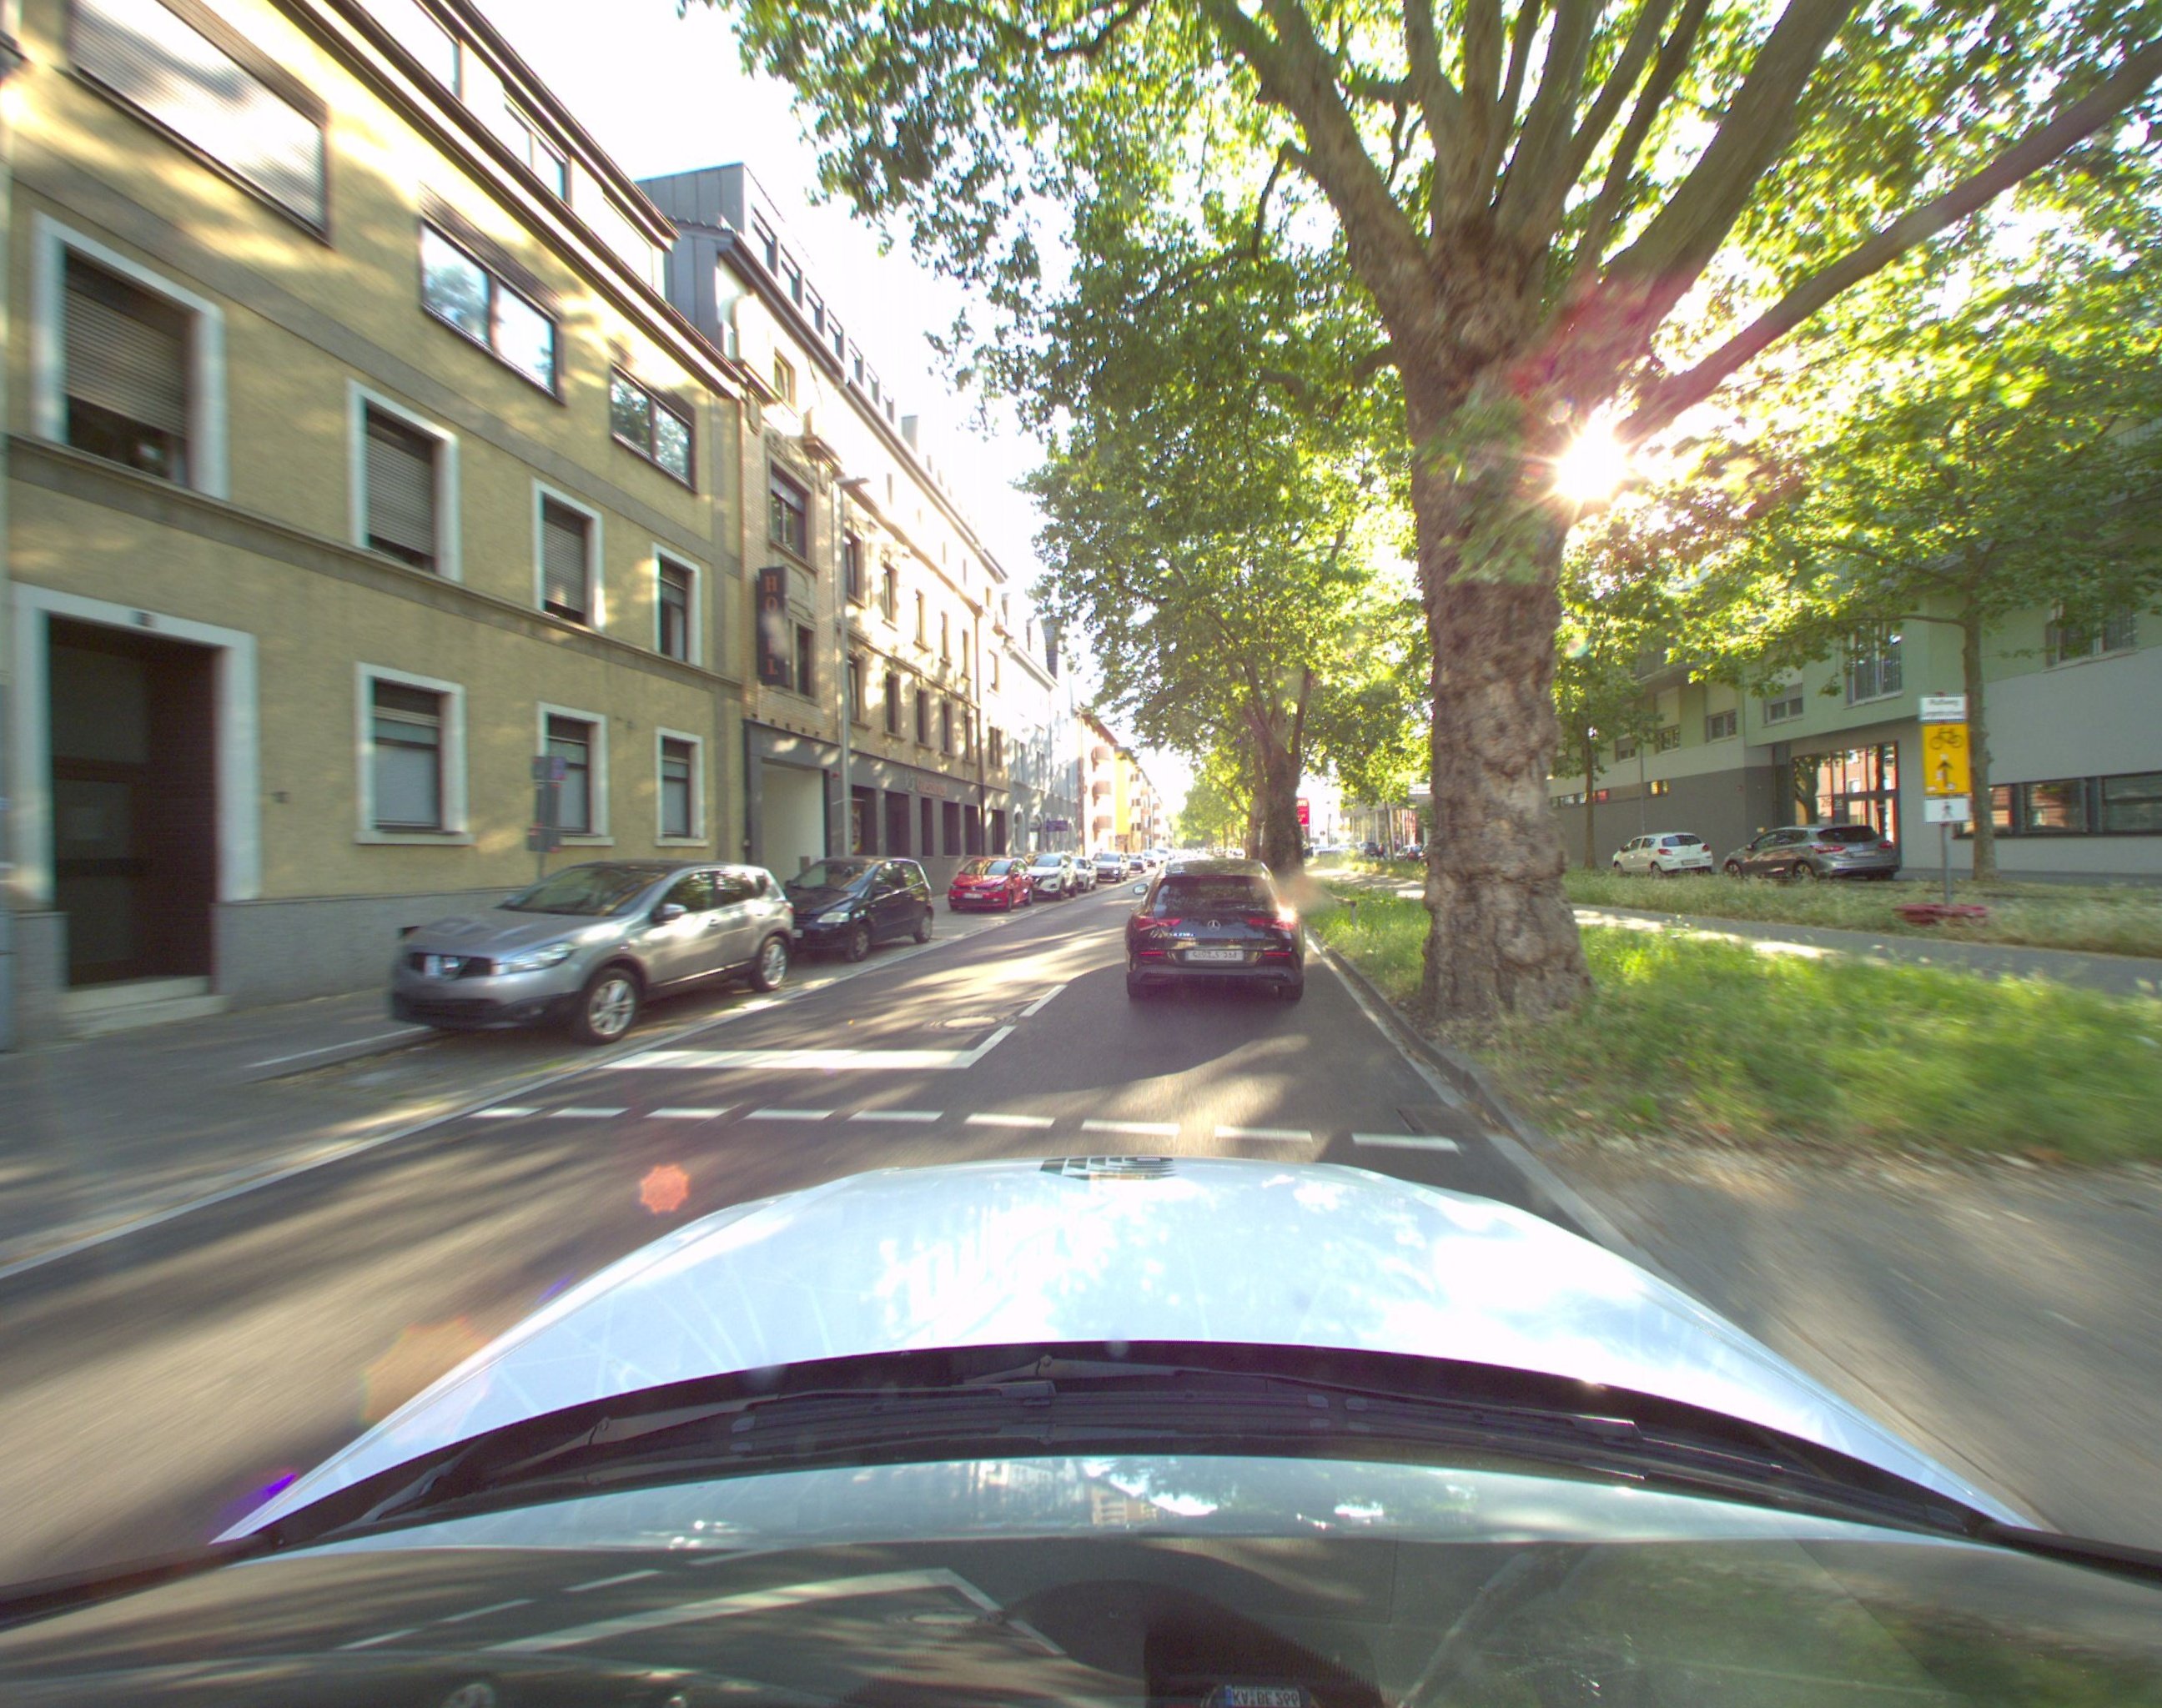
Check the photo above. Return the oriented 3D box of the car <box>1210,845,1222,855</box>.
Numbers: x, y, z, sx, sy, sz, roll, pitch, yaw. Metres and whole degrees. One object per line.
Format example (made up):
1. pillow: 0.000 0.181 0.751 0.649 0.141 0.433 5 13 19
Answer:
1. car: 27.900 -0.821 168.387 1.984 2.014 4.005 -1 -1 5

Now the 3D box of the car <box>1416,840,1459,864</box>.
1. car: 24.756 -0.162 56.701 1.848 1.552 3.769 -2 0 9

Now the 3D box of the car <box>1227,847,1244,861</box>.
1. car: 19.467 0.025 102.785 1.799 1.539 4.595 -4 -1 9

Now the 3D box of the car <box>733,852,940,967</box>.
1. car: -3.830 0.778 13.458 1.666 1.605 3.718 0 0 12

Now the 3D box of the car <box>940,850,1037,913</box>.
1. car: -2.487 0.702 22.827 1.667 1.592 3.767 0 0 10

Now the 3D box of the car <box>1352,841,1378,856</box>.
1. car: 33.560 -0.658 96.333 1.975 1.733 4.189 -2 0 7

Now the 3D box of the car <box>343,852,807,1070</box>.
1. car: -4.753 0.823 8.528 1.770 1.673 4.168 0 0 10

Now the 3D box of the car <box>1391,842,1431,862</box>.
1. car: 25.449 -0.155 62.997 1.849 1.468 4.132 -2 0 7

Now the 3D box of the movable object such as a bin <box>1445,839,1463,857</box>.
1. movable object such as a bin: 31.044 -0.513 67.831 1.183 1.463 1.414 -2 0 20

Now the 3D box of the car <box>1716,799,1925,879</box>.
1. car: 18.678 -0.361 20.890 1.893 1.771 4.331 -2 0 9

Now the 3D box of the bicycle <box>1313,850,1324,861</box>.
1. bicycle: 21.460 0.137 73.613 0.382 1.003 1.482 -2 0 -7

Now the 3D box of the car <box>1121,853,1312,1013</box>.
1. car: 1.343 0.727 9.506 1.737 1.443 3.971 0 0 2

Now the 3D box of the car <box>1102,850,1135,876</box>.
1. car: 2.486 0.553 53.146 1.667 1.641 3.996 0 0 10

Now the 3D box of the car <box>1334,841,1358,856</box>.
1. car: 31.527 -0.647 96.818 1.866 1.733 4.188 -2 0 6

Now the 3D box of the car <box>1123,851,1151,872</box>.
1. car: 4.158 0.526 60.167 1.667 1.486 3.611 0 0 10

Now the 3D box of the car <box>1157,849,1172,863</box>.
1. car: 10.855 0.183 105.881 1.736 1.787 4.559 0 0 7

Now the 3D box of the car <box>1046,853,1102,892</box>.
1. car: -0.227 0.720 34.117 1.667 1.496 3.883 0 0 10

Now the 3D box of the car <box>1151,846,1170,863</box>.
1. car: 9.094 0.036 93.333 1.723 1.907 5.224 -1 0 10

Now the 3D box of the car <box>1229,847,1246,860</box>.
1. car: 18.440 -0.065 95.917 1.626 1.468 4.029 -3 -1 7

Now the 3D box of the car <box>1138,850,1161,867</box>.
1. car: 6.218 0.396 73.209 1.667 1.523 4.032 0 0 10

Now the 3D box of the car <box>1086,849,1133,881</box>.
1. car: 1.629 0.562 44.353 1.896 1.641 4.590 0 0 10

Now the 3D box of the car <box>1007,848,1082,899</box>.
1. car: -1.153 0.605 27.733 1.667 1.584 4.212 0 0 10

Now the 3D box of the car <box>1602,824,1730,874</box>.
1. car: 20.129 -0.175 28.284 1.848 1.542 4.331 -2 0 9
